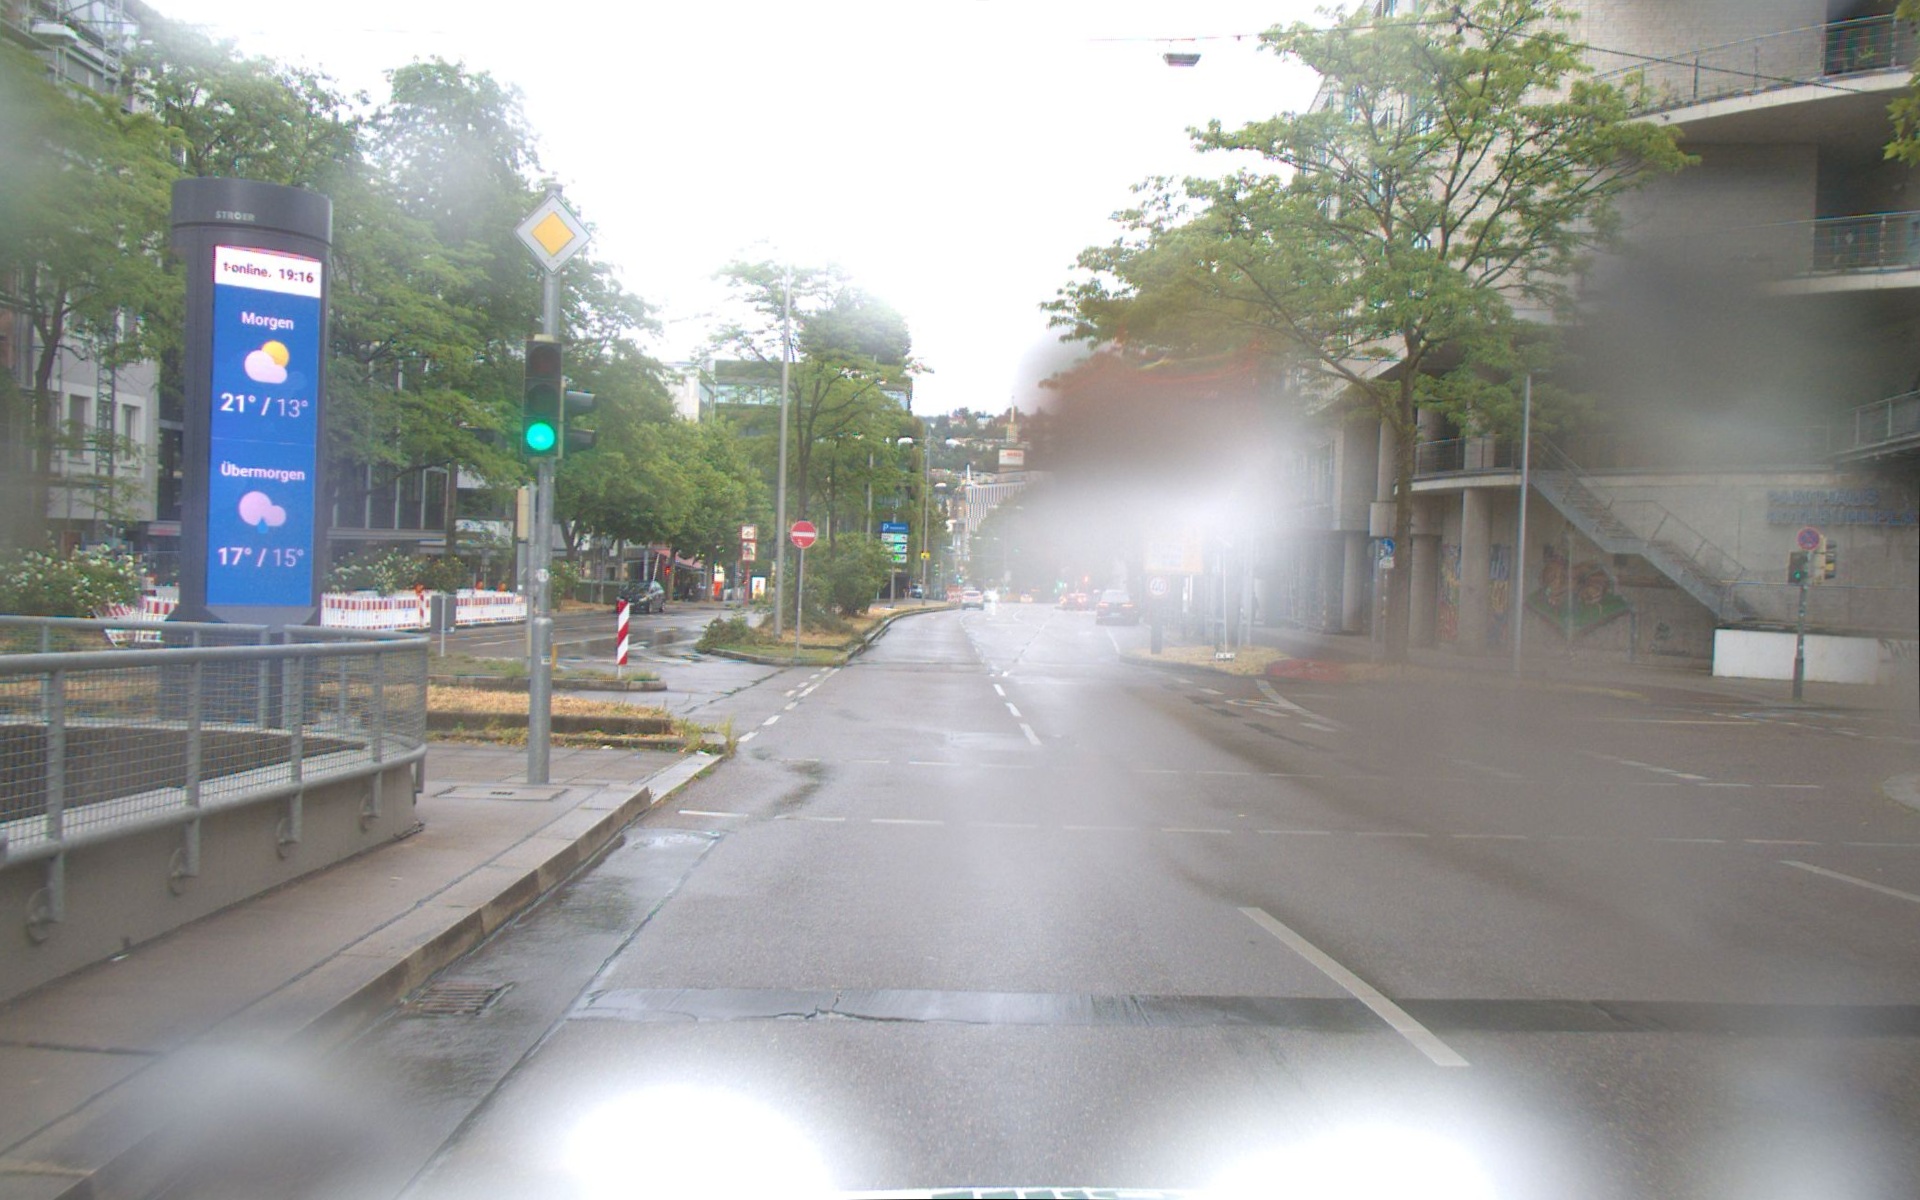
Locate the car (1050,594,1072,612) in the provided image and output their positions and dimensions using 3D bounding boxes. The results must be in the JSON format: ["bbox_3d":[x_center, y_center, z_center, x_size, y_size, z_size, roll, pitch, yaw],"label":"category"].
[{"bbox_3d":[10.126,0.337,166.090,1.953,1.766,3.999,1,-1,-1],"label":"car"}]

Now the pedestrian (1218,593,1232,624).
[{"bbox_3d":[16.895,0.550,105.481,0.759,1.954,0.702,1,-1,-2],"label":"pedestrian"}]

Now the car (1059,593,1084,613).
[{"bbox_3d":[10.411,0.313,154.992,1.953,1.754,3.998,1,-1,-2],"label":"car"}]

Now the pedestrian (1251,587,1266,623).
[{"bbox_3d":[16.363,0.286,90.588,0.759,1.954,0.703,1,-1,9],"label":"pedestrian"}]

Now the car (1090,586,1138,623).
[{"bbox_3d":[7.727,0.209,82.671,2.288,1.721,4.003,1,0,6],"label":"car"}]

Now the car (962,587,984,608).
[{"bbox_3d":[1.121,-0.235,141.892,1.791,1.668,4.301,2,0,1],"label":"car"}]
